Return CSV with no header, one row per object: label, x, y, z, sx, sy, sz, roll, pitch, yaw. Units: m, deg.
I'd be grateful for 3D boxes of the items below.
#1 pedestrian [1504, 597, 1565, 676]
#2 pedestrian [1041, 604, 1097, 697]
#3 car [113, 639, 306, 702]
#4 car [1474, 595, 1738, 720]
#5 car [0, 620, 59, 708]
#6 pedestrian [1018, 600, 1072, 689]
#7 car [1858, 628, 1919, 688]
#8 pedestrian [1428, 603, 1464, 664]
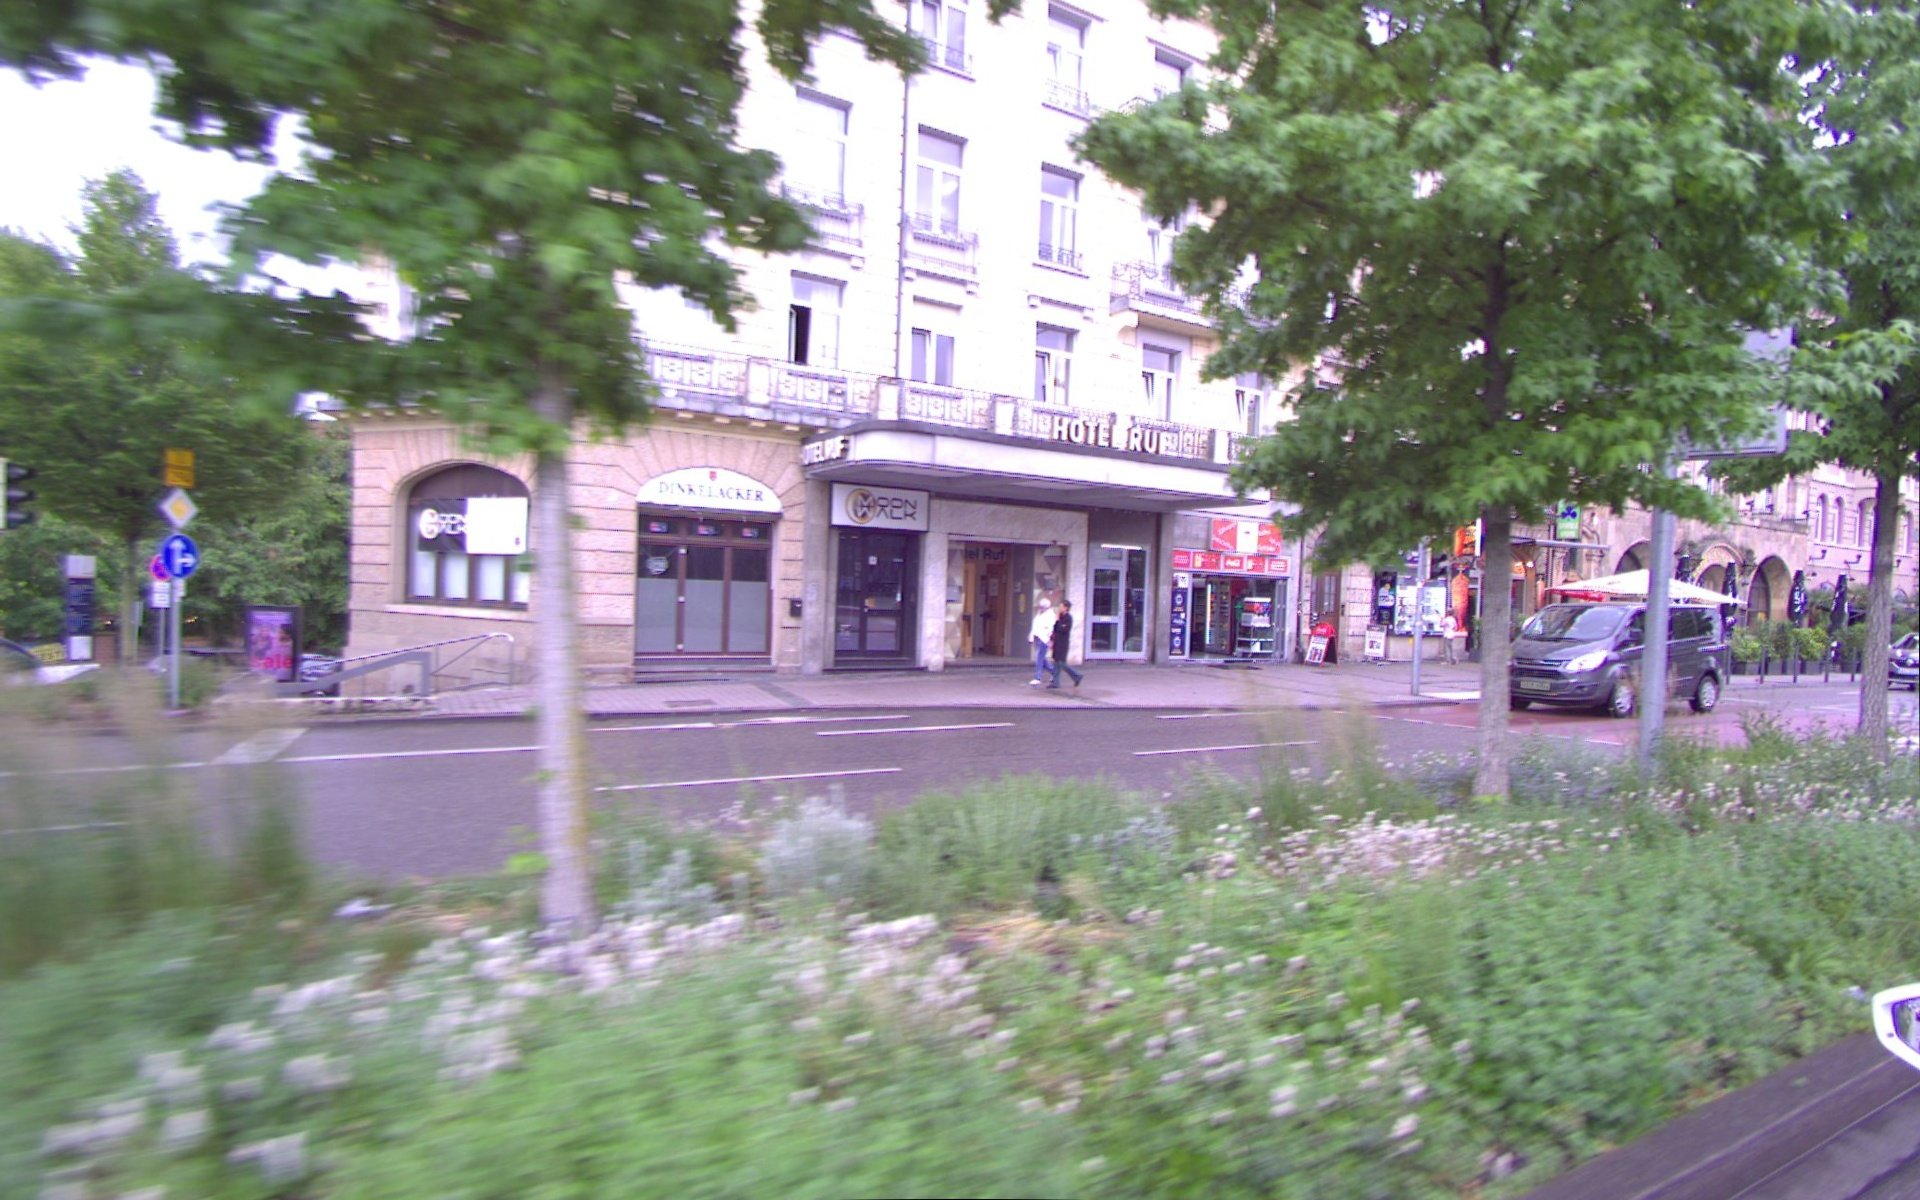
pedestrian,14.090,0.911,24.649,0.741,1.835,0.876,2,-8,-30
pedestrian,2.044,0.938,18.815,0.797,1.685,0.678,2,-2,-30
car,-19.421,1.775,26.224,1.602,1.416,4.003,0,-1,10
car,11.916,1.033,18.466,4.939,2.040,1.985,2,-2,-29
car,-20.639,1.306,19.878,1.602,1.782,4.003,0,-1,10
pedestrian,1.646,0.856,19.462,0.796,1.685,0.679,1,-2,-27
car,26.739,1.573,27.443,4.578,1.564,1.984,2,-2,-30
pedestrian,13.775,0.951,28.460,0.532,1.686,0.661,2,1,-38
